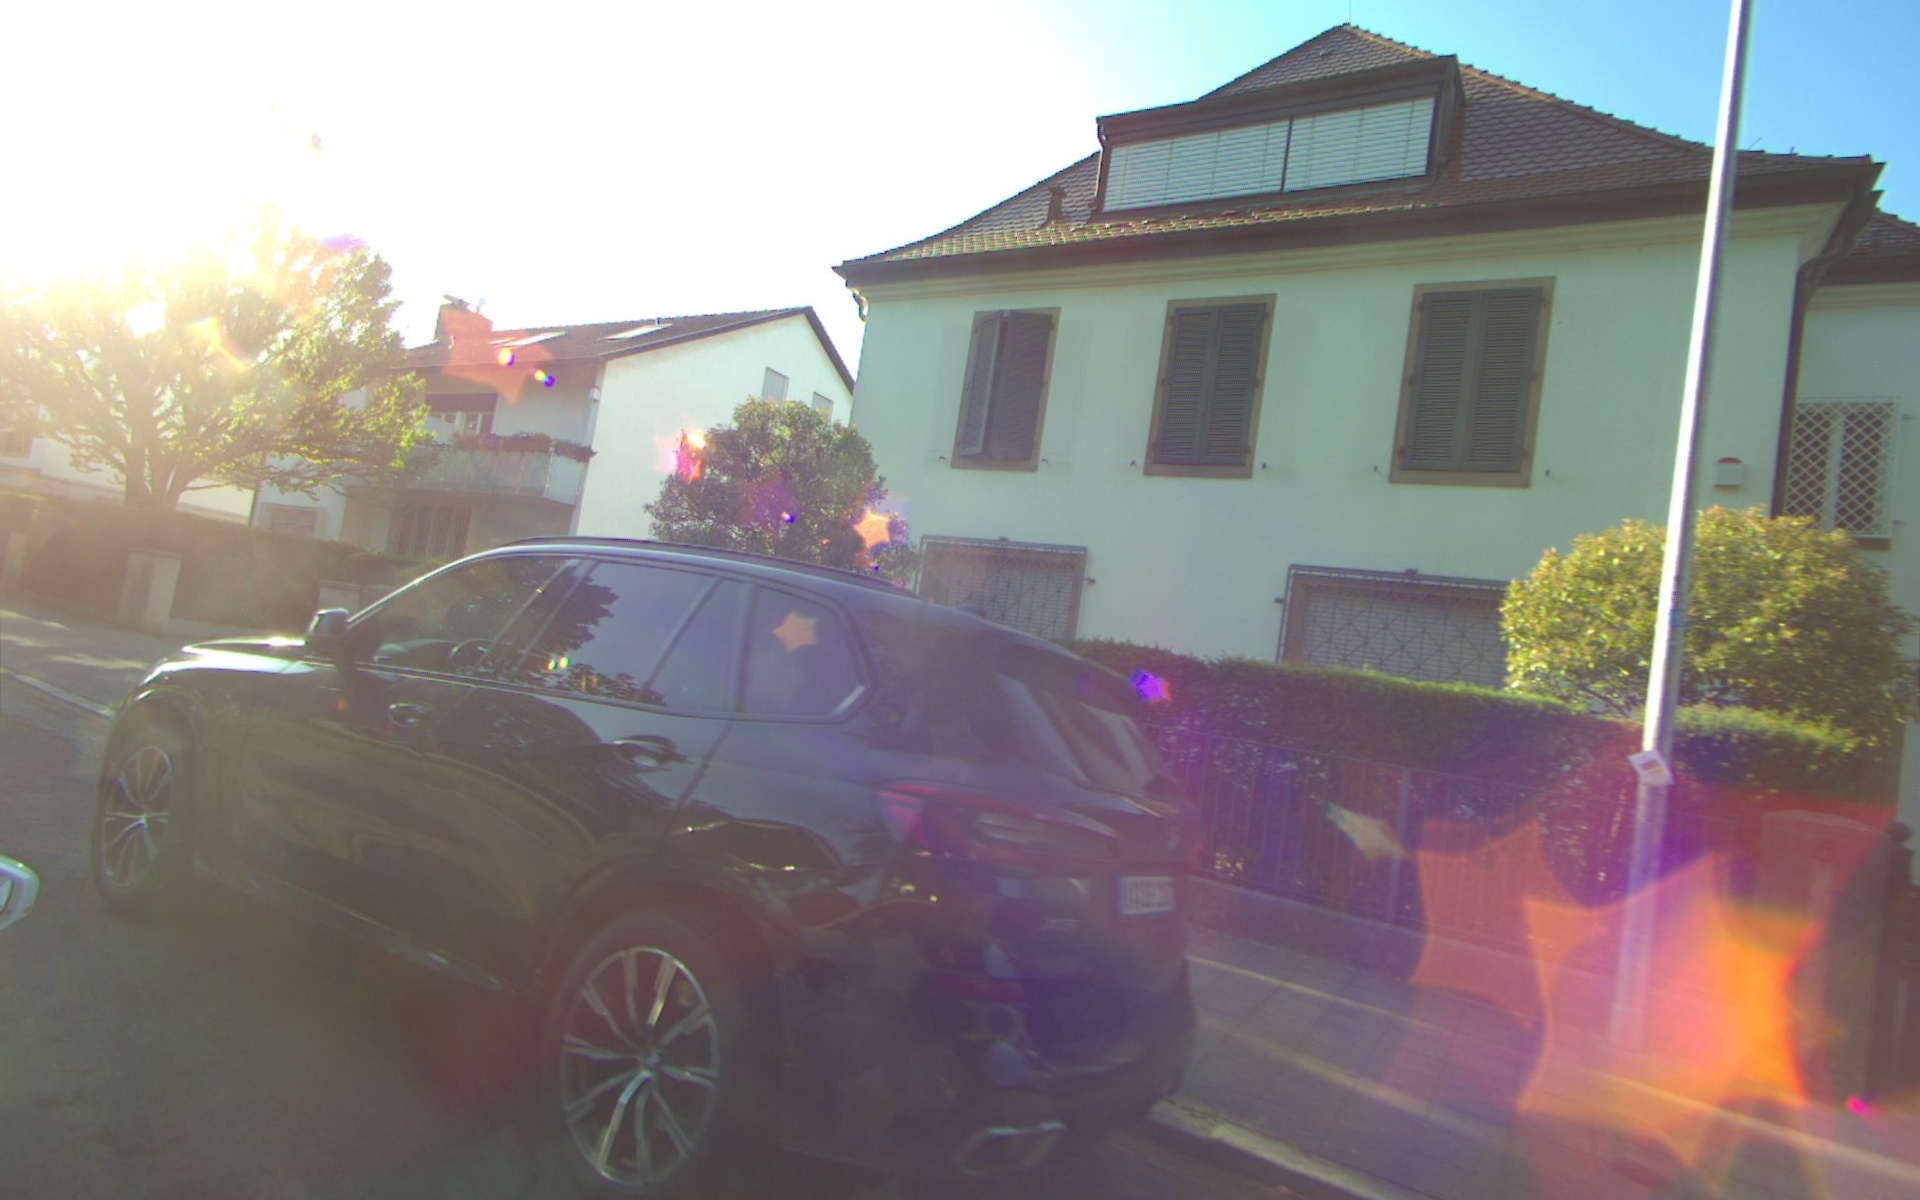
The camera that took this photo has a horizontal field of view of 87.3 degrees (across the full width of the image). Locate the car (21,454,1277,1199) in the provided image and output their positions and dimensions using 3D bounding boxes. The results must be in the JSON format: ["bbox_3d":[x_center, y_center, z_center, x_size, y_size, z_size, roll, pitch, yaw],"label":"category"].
[{"bbox_3d":[-1.458,0.606,4.117,4.782,1.754,2.001,7,-5,30],"label":"car"}]
